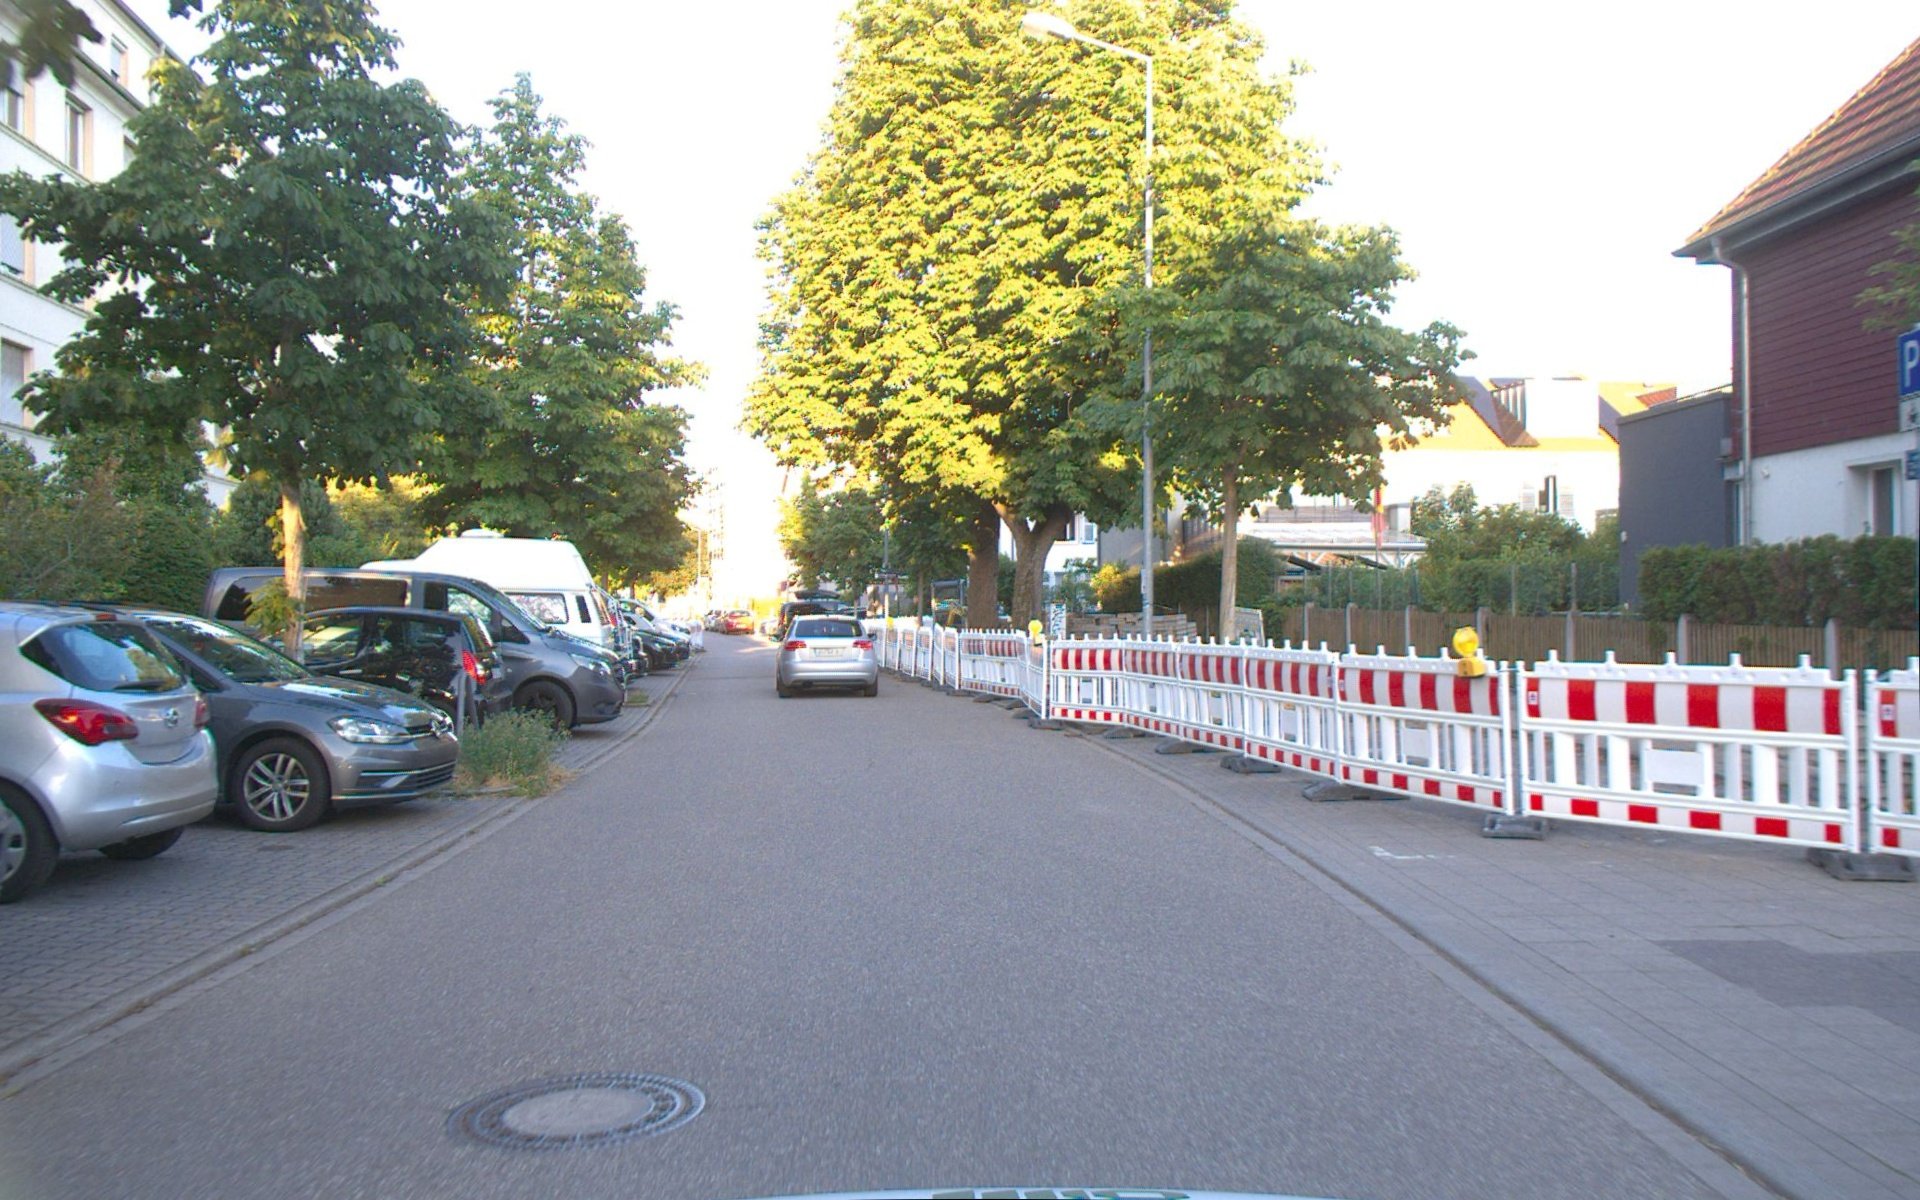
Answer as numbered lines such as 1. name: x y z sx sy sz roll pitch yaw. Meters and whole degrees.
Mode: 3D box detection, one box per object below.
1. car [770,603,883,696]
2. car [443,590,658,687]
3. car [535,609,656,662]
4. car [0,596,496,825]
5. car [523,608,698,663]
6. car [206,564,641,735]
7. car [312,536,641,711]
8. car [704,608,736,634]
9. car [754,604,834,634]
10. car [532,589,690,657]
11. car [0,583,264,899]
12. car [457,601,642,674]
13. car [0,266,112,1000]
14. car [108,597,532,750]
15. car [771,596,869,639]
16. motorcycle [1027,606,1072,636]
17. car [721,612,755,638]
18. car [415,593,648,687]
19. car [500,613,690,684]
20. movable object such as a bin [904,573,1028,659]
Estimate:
1. car: -2.460 0.825 29.718 1.773 1.514 3.993 -1 0 -8
2. car: -7.872 0.732 32.087 3.786 1.808 1.841 0 0 -6
3. car: -10.752 1.036 48.986 3.350 1.510 1.756 0 0 -7
4. car: -5.608 0.718 11.668 4.158 1.418 1.684 2 0 -1
5. car: -9.736 0.997 46.369 4.684 1.496 1.877 0 -1 -9
6. car: -6.200 0.558 19.633 4.584 1.906 1.997 0 0 -7
7. car: -7.094 0.343 24.693 4.416 2.473 1.997 0 0 -7
8. car: -15.729 1.385 108.097 1.778 1.641 3.568 0 0 -13
9. car: -9.118 1.031 90.759 4.088 1.599 1.787 0 0 -20
10. car: -10.783 0.709 51.413 4.684 2.049 1.995 0 0 -10
11. car: -6.014 0.660 8.970 3.728 1.549 1.651 2 0 -3
12. car: -9.210 0.829 37.359 3.914 1.611 1.727 0 0 -10
13. car: -5.739 0.110 5.637 4.634 2.614 2.000 0 0 0
14. car: -6.399 0.724 16.876 3.696 1.464 1.654 1 0 -6
15. car: -6.866 0.840 81.058 4.485 2.058 2.091 0 0 -18
16. motorcycle: 3.427 0.789 63.316 1.829 1.125 0.573 0 0 -40
17. car: -13.166 1.475 97.961 1.700 1.509 3.545 0 0 -13
18. car: -7.589 0.695 29.603 3.786 1.623 1.783 0 0 -6
19. car: -8.692 1.131 39.568 4.330 1.643 1.894 0 0 -13
20. movable object such as a bin: 0.107 0.457 49.940 2.584 2.445 5.178 0 0 -14
